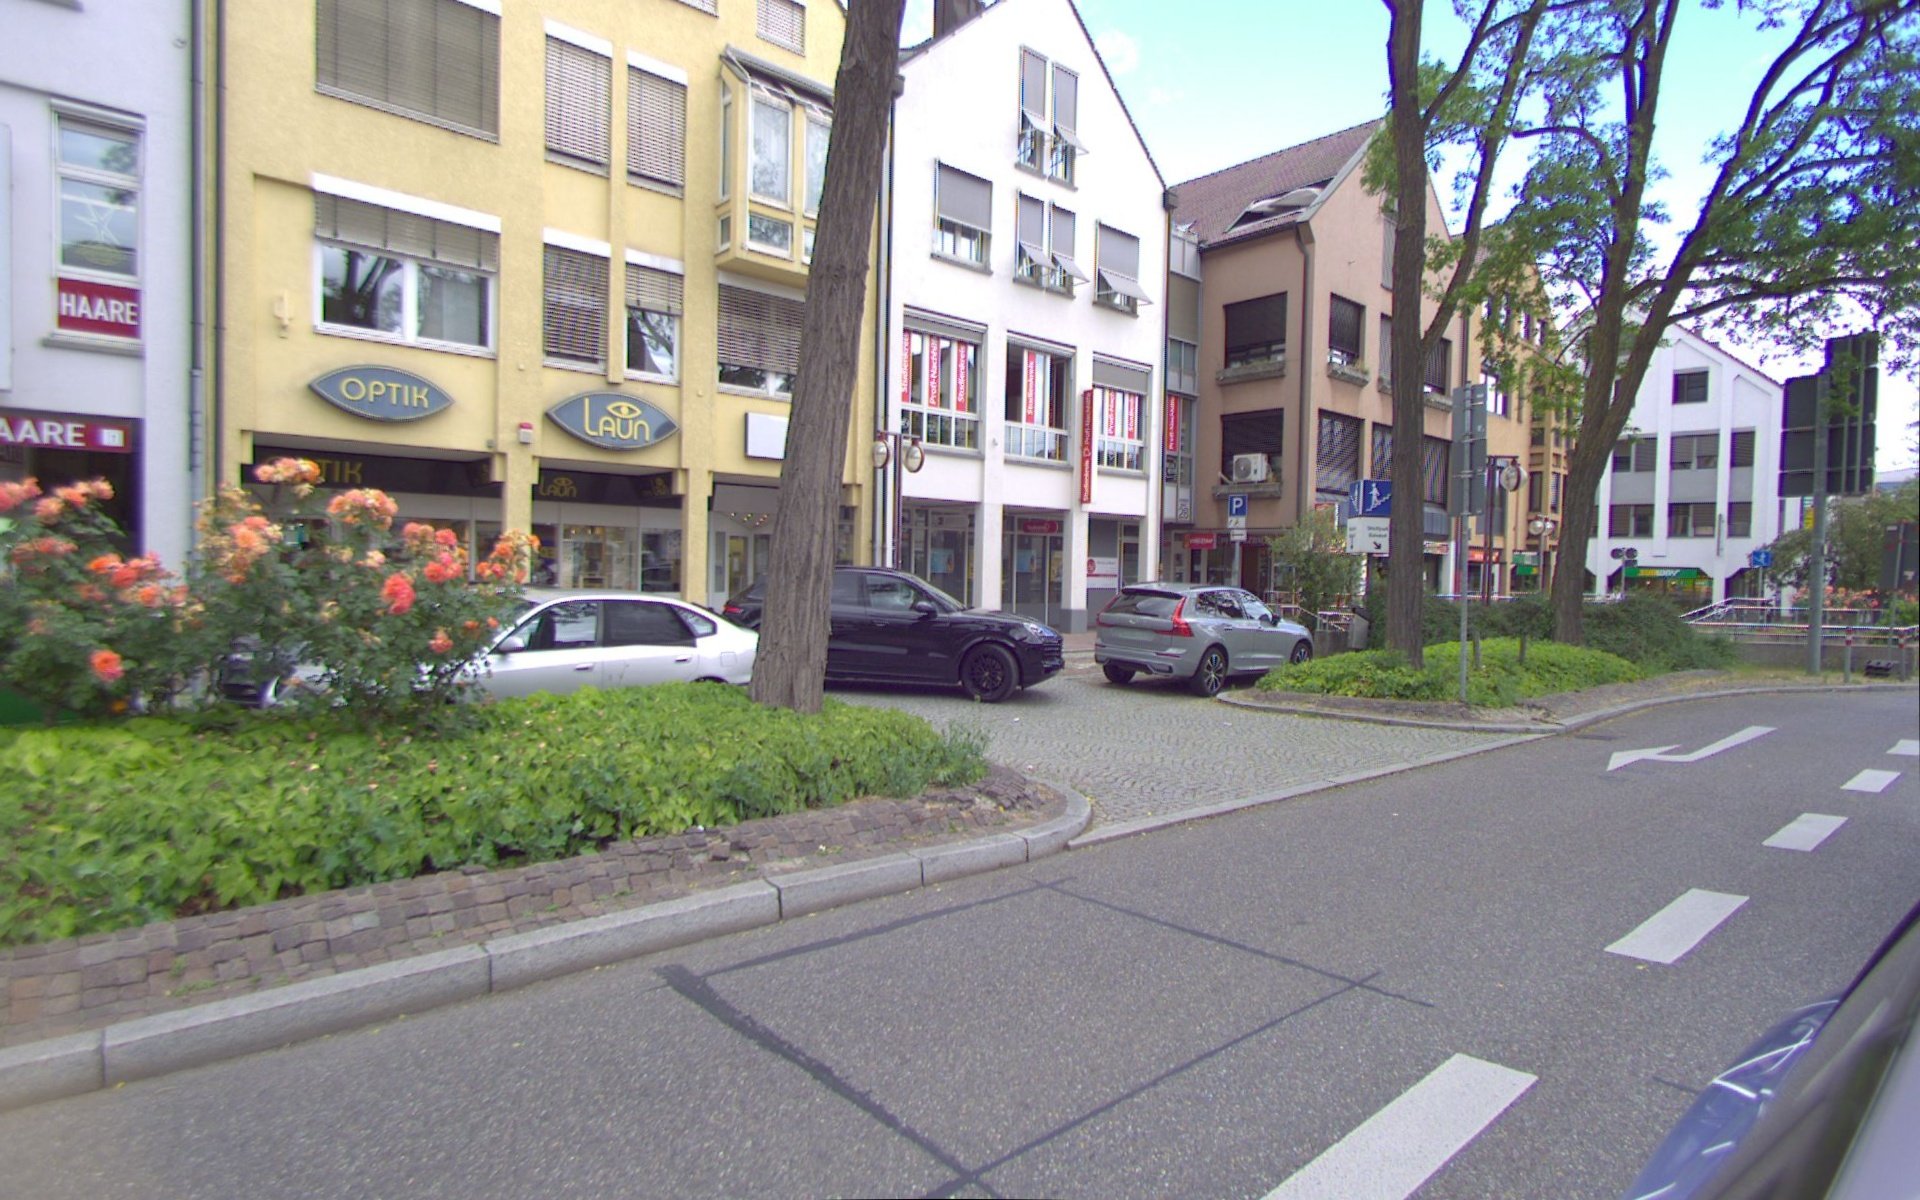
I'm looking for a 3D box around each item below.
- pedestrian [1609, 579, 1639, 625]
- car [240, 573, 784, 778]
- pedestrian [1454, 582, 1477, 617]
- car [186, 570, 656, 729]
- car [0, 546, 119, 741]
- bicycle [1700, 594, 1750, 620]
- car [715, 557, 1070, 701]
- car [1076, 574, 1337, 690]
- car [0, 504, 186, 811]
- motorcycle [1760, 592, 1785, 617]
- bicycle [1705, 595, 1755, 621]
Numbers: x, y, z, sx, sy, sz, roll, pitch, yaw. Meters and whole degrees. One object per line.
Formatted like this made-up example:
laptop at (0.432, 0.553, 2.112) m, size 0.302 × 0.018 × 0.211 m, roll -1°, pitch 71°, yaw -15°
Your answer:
pedestrian at (27.182, 0.080, 41.438) m, size 0.772 × 1.846 × 0.869 m, roll 0°, pitch 0°, yaw -45°
car at (-3.994, 0.529, 9.510) m, size 4.344 × 1.468 × 1.765 m, roll 0°, pitch 2°, yaw -43°
pedestrian at (26.560, -0.042, 53.199) m, size 0.882 × 1.779 × 0.931 m, roll 2°, pitch 1°, yaw 38°
car at (-5.944, 0.425, 11.469) m, size 4.344 × 1.393 × 2.000 m, roll 0°, pitch 3°, yaw -43°
car at (-9.436, 0.325, 7.920) m, size 4.320 × 1.561 × 1.799 m, roll 0°, pitch 3°, yaw -43°
bicycle at (30.784, 0.271, 40.740) m, size 1.584 × 1.014 × 0.409 m, roll 2°, pitch 1°, yaw 37°
car at (-0.865, 0.334, 14.075) m, size 4.578 × 1.690 × 1.858 m, roll 2°, pitch 2°, yaw 3°
car at (4.190, 0.437, 16.720) m, size 4.685 × 1.615 × 1.995 m, roll 0°, pitch 2°, yaw -44°
car at (-7.554, 0.310, 6.028) m, size 4.528 × 1.899 × 1.883 m, roll 0°, pitch 3°, yaw -43°
motorcycle at (35.018, 0.190, 43.609) m, size 1.961 × 1.081 × 0.464 m, roll 0°, pitch 1°, yaw -41°
bicycle at (31.289, 0.323, 41.128) m, size 1.583 × 0.981 × 0.455 m, roll 2°, pitch 1°, yaw 36°
